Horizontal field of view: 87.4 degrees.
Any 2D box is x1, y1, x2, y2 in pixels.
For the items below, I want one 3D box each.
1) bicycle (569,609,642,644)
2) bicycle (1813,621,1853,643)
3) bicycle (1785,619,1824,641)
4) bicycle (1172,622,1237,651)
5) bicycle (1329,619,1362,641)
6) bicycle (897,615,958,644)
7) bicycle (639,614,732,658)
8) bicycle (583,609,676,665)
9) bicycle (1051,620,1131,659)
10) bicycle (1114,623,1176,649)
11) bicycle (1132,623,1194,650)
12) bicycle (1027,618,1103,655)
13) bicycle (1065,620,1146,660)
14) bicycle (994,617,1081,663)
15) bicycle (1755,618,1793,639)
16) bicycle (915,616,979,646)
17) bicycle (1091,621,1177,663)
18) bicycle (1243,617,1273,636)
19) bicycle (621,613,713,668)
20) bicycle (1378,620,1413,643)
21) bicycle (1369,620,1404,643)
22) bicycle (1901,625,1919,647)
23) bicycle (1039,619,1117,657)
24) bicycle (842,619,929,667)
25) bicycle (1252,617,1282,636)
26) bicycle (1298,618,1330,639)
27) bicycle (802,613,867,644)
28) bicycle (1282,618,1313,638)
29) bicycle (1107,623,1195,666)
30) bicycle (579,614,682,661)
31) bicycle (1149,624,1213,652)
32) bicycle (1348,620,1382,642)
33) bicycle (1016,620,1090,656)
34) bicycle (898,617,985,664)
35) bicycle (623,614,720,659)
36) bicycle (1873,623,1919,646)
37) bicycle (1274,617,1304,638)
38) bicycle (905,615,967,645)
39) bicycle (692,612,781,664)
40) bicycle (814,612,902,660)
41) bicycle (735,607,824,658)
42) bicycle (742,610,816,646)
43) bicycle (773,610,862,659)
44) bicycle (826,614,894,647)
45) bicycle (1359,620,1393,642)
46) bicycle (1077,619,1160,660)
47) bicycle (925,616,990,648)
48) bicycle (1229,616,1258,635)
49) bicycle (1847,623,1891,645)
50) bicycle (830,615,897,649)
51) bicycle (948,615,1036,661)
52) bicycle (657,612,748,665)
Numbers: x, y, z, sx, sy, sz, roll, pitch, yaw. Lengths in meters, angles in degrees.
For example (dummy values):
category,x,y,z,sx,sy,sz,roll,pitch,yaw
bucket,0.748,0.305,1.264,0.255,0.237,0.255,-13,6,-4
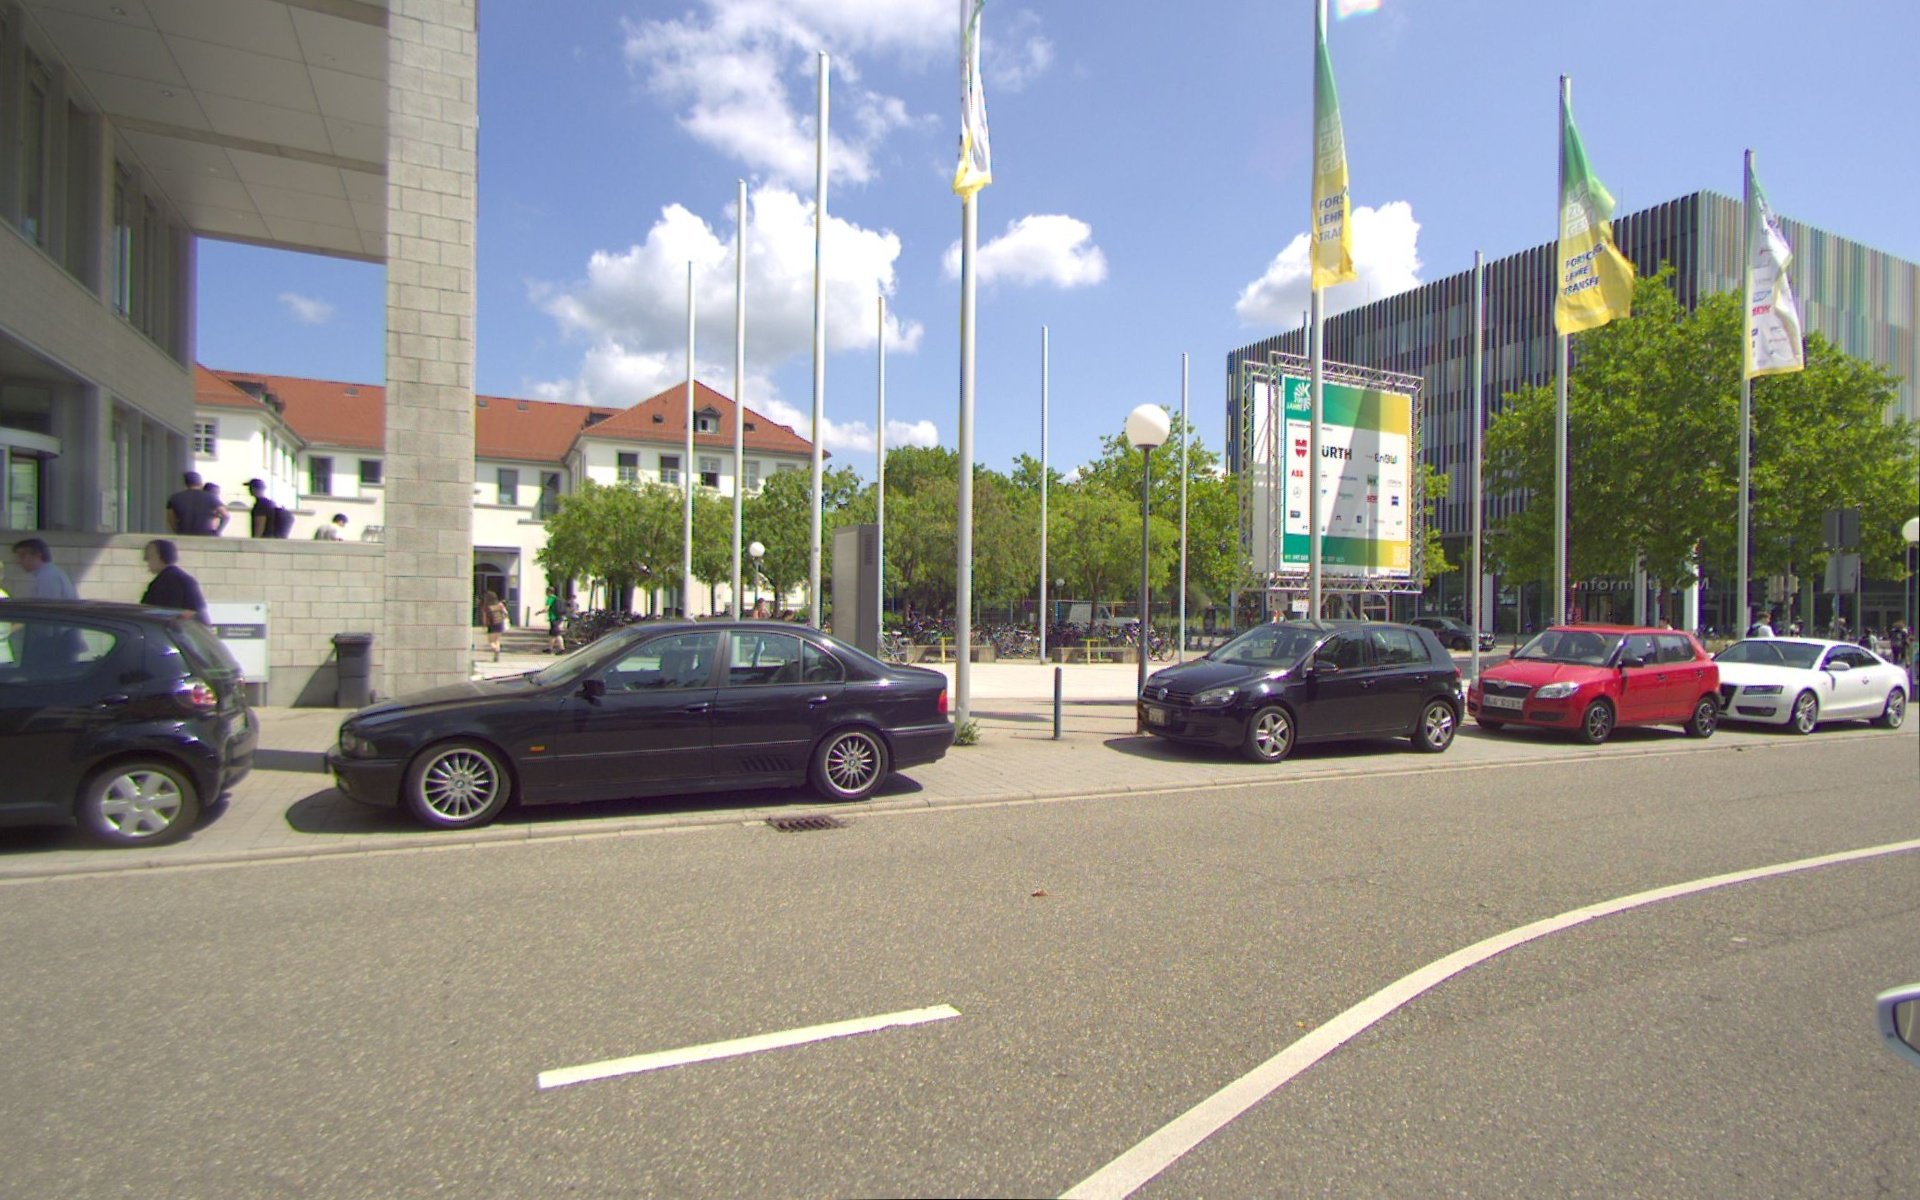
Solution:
category,x,y,z,sx,sy,sz,roll,pitch,yaw
bicycle,-15.319,1.147,43.515,2.905,1.430,1.143,1,0,-19
bicycle,52.042,1.889,59.923,1.179,1.254,2.947,1,0,28
bicycle,50.871,1.803,60.565,1.179,1.254,2.947,1,0,28
bicycle,10.519,1.562,43.136,2.920,1.163,0.992,2,0,-34
bicycle,34.307,2.655,89.349,2.911,1.863,0.956,1,0,-25
bicycle,-1.665,1.514,51.628,2.908,1.430,1.060,1,0,-22
bicycle,-9.493,1.225,34.841,2.895,1.430,1.147,1,0,-5
bicycle,-9.125,0.987,27.649,2.908,1.430,1.142,1,0,42
bicycle,5.075,1.526,38.870,2.908,1.430,1.060,1,0,-22
bicycle,8.526,1.649,46.218,2.921,1.165,0.991,2,0,-35
bicycle,9.158,1.650,45.258,2.920,1.152,0.992,2,0,-34
bicycle,4.268,1.501,40.935,2.908,1.430,1.060,1,0,-22
bicycle,5.473,1.513,37.828,2.908,1.430,1.012,1,0,-22
bicycle,2.632,1.331,34.358,2.908,1.430,1.060,1,0,42
bicycle,49.465,1.718,61.087,1.179,1.254,2.947,1,0,28
bicycle,-0.639,1.521,49.019,2.908,1.430,1.060,1,0,-22
bicycle,6.214,1.484,35.824,2.908,1.435,1.012,1,0,-22
bicycle,29.578,2.612,99.683,2.912,1.863,0.956,1,0,-26
bicycle,-8.338,1.125,28.526,2.908,1.430,1.142,1,0,42
bicycle,36.529,2.672,84.178,2.909,1.863,0.957,1,0,-23
bicycle,36.144,2.670,85.178,2.909,1.863,0.957,1,0,-23
bicycle,56.152,2.084,58.494,1.179,1.254,2.947,1,0,27
bicycle,4.675,1.497,39.871,2.908,1.430,1.060,1,0,-22
bicycle,-2.461,1.376,33.020,2.908,1.430,1.142,1,0,42
bicycle,30.150,2.618,98.505,2.912,1.863,0.956,1,0,-26
bicycle,32.781,2.642,92.923,2.912,1.863,0.983,1,0,-26
bicycle,-6.094,1.394,48.852,2.914,1.430,1.205,1,0,-28
bicycle,31.869,2.634,94.880,2.912,1.863,0.956,1,0,-26
bicycle,6.624,1.549,34.770,2.908,1.438,1.012,1,0,-22
bicycle,-10.470,1.185,32.066,2.895,1.430,1.147,1,0,-5
bicycle,9.761,1.688,44.311,2.920,1.163,0.992,2,0,-34
bicycle,35.215,2.662,87.324,2.910,1.863,0.957,1,0,-24
bicycle,3.870,1.577,41.972,2.908,1.430,1.060,1,0,-22
bicycle,-0.640,1.305,33.355,2.908,1.430,1.142,1,0,42
bicycle,-9.615,1.214,33.555,2.895,1.430,1.147,1,0,-5
bicycle,55.029,2.031,59.070,1.179,1.254,2.947,1,0,27
bicycle,31.405,2.630,95.920,2.912,1.863,0.956,1,0,-26
bicycle,-1.213,1.516,50.383,2.908,1.430,1.060,1,0,-22
bicycle,-6.787,1.116,30.344,2.908,1.430,1.142,1,0,42
bicycle,-3.286,1.122,32.087,2.908,1.430,1.142,1,0,42
bicycle,-5.562,0.976,30.858,2.908,1.430,1.142,1,0,42
bicycle,-7.421,1.143,41.145,2.902,1.430,1.062,1,0,-16
bicycle,-4.492,1.062,31.553,2.908,1.430,1.142,1,0,42
bicycle,-4.586,1.410,45.973,2.914,1.430,1.058,1,0,-28
bicycle,35.699,2.666,86.137,2.910,1.863,0.957,1,0,-24
bicycle,5.820,1.464,36.823,2.908,1.430,1.012,1,0,-22
bicycle,-0.129,1.525,47.869,2.908,1.430,1.060,1,0,-22
bicycle,28.666,2.586,101.591,2.912,1.863,0.956,1,0,-26
bicycle,53.906,1.986,59.634,1.179,1.254,2.947,1,0,27
bicycle,-4.244,1.406,44.106,2.897,1.430,1.064,1,0,-8
bicycle,1.059,1.263,34.034,2.908,1.430,1.142,1,0,42
bicycle,-7.567,1.092,29.412,2.908,1.430,1.142,1,0,42
